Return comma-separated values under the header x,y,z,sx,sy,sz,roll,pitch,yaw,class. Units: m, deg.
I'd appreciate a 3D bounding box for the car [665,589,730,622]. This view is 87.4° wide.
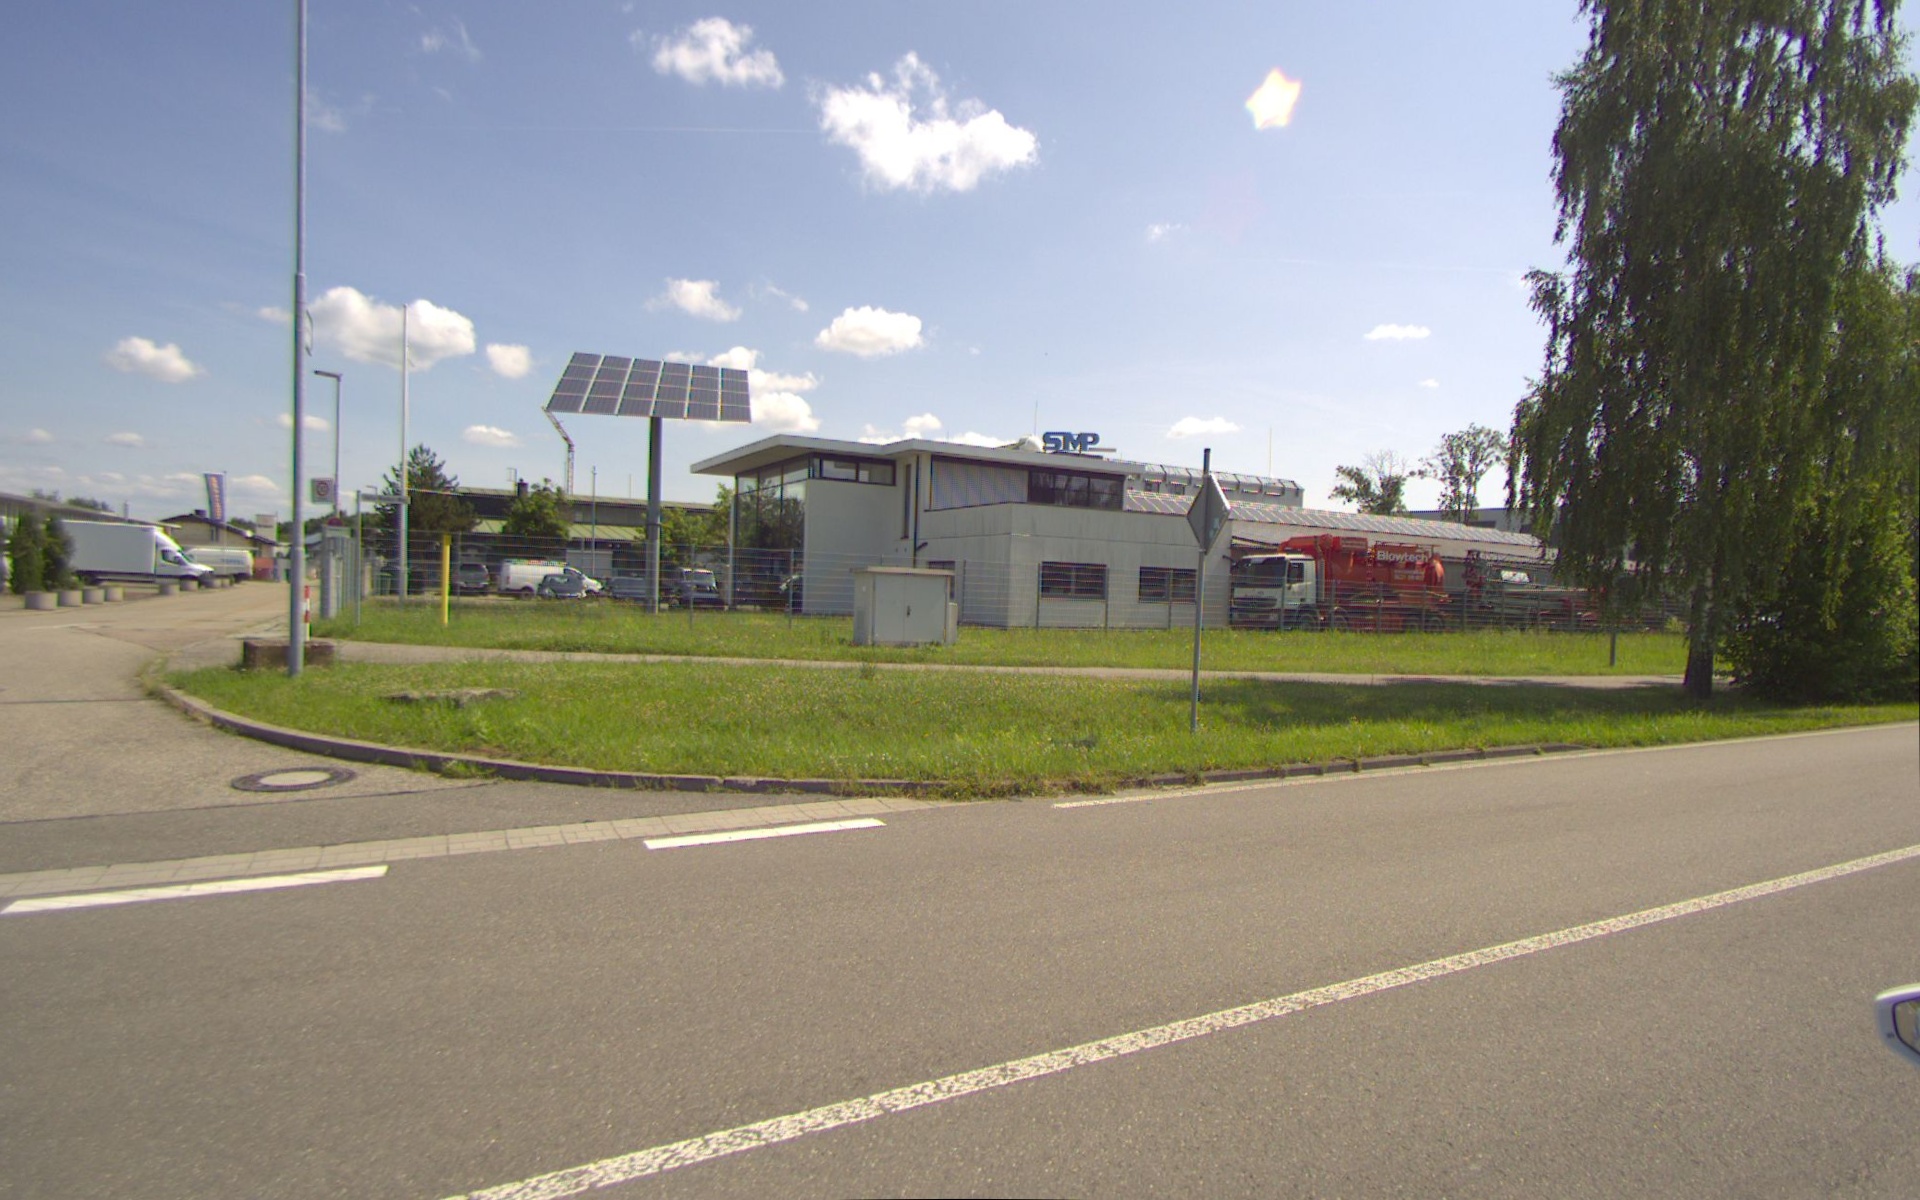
x,y,z,sx,sy,sz,roll,pitch,yaw,class
-11.437,0.213,43.546,1.782,1.261,3.968,1,2,-29,car

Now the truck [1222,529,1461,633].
x,y,z,sx,sy,sz,roll,pitch,yaw,class
14.891,-0.621,38.786,10.145,3.606,2.740,1,2,-30,truck

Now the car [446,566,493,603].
x,y,z,sx,sy,sz,roll,pitch,yaw,class
-27.384,-0.881,56.020,1.977,1.874,3.966,1,2,-31,car

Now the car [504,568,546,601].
x,y,z,sx,sy,sz,roll,pitch,yaw,class
-25.061,-0.909,57.834,1.669,1.777,3.818,1,2,-32,car

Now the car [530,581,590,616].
x,y,z,sx,sy,sz,roll,pitch,yaw,class
-16.371,-0.073,41.029,1.782,1.261,3.968,1,2,-29,car

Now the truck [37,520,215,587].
x,y,z,sx,sy,sz,roll,pitch,yaw,class
-44.731,-2.423,54.138,7.107,3.256,1.983,1,2,-31,truck

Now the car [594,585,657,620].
x,y,z,sx,sy,sz,roll,pitch,yaw,class
-14.028,0.075,42.038,1.782,1.261,3.968,1,2,-29,car

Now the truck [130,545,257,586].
x,y,z,sx,sy,sz,roll,pitch,yaw,class
-55.901,-2.471,73.494,7.107,2.701,2.128,1,2,-31,truck

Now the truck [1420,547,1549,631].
x,y,z,sx,sy,sz,roll,pitch,yaw,class
23.132,-0.450,44.272,5.377,3.499,2.423,1,2,-30,truck

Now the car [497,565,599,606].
x,y,z,sx,sy,sz,roll,pitch,yaw,class
-21.991,-0.767,53.684,4.695,2.041,1.980,1,2,-35,car
